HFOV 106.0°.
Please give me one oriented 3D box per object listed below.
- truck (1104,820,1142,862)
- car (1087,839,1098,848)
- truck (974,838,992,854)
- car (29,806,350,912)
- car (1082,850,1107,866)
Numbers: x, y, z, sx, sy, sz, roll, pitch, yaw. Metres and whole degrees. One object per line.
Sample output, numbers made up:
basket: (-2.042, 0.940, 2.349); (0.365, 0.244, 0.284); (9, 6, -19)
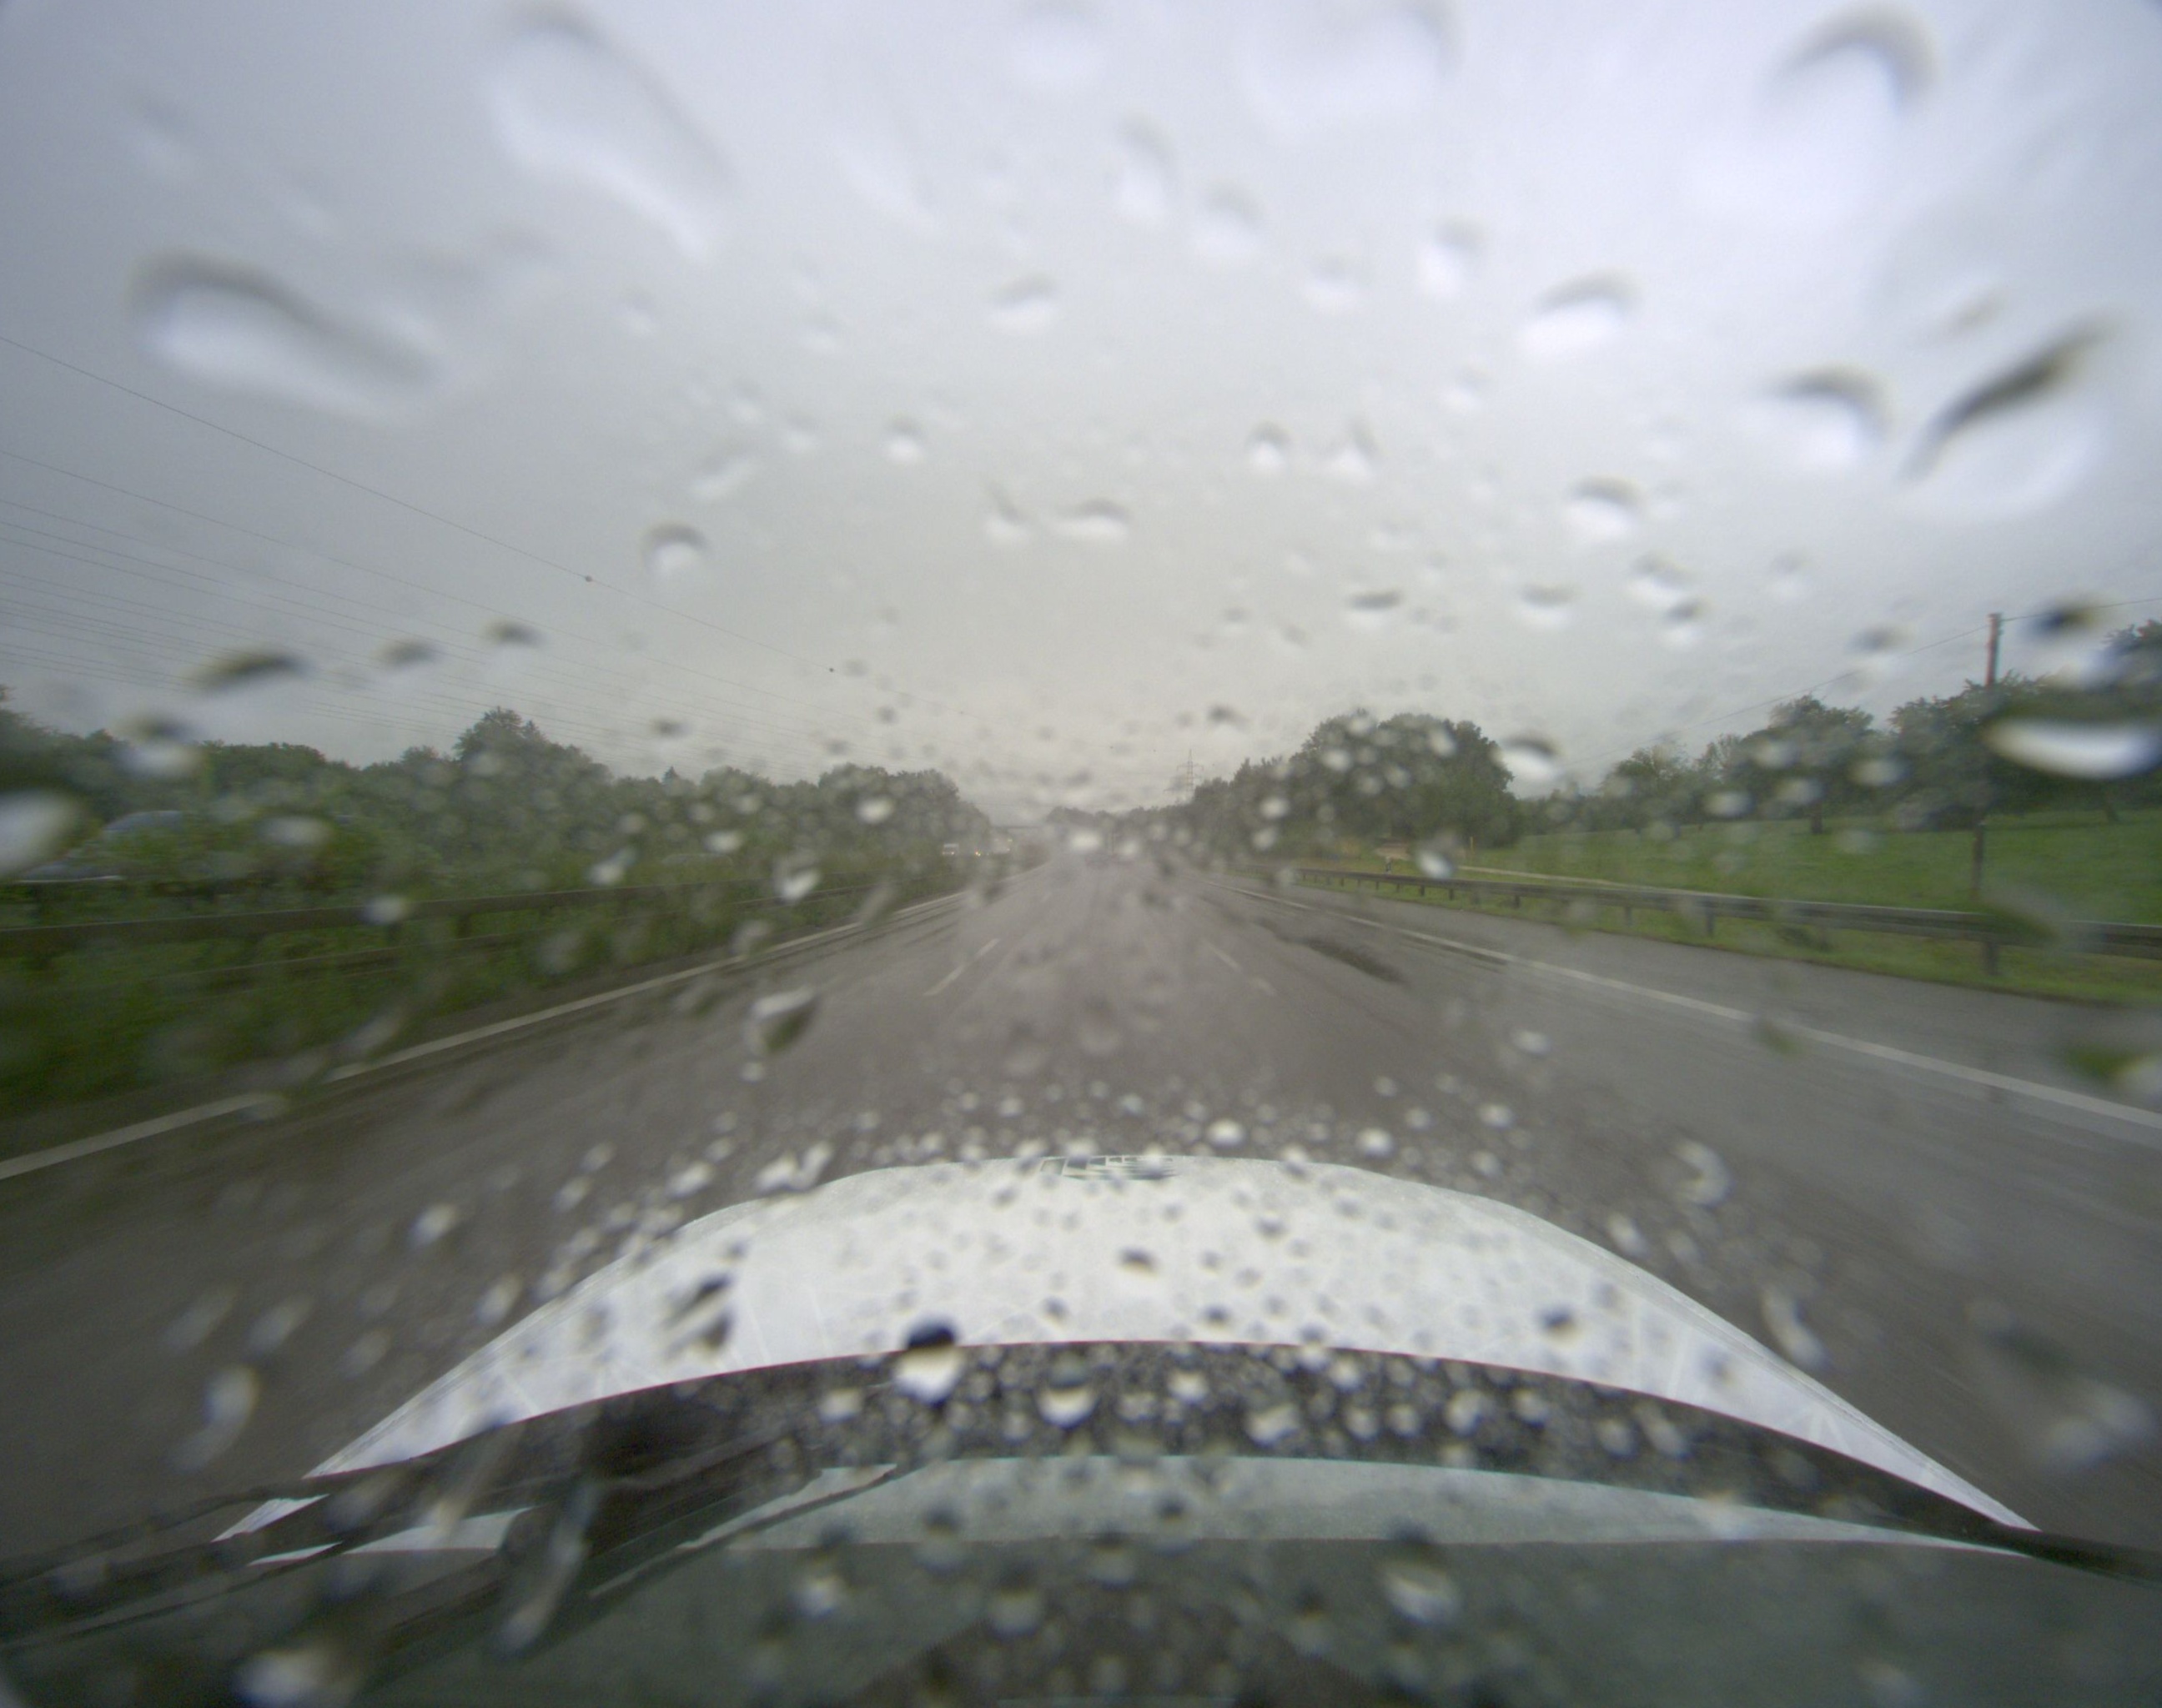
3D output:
truck: (5.721, -1.673, 108.253); (4.236, 4.972, 17.366); (-1, 0, 5)
car: (2.677, -2.504, 193.918); (2.386, 2.272, 5.001); (1, 1, 0)
truck: (-21.405, -1.698, 178.210); (3.059, 3.276, 7.390); (3, 0, 0)
car: (-19.983, 0.083, 18.682); (1.813, 2.013, 4.838); (3, 0, 2)
car: (1.090, 0.289, 64.825); (1.741, 1.212, 4.004); (2, 0, 3)
